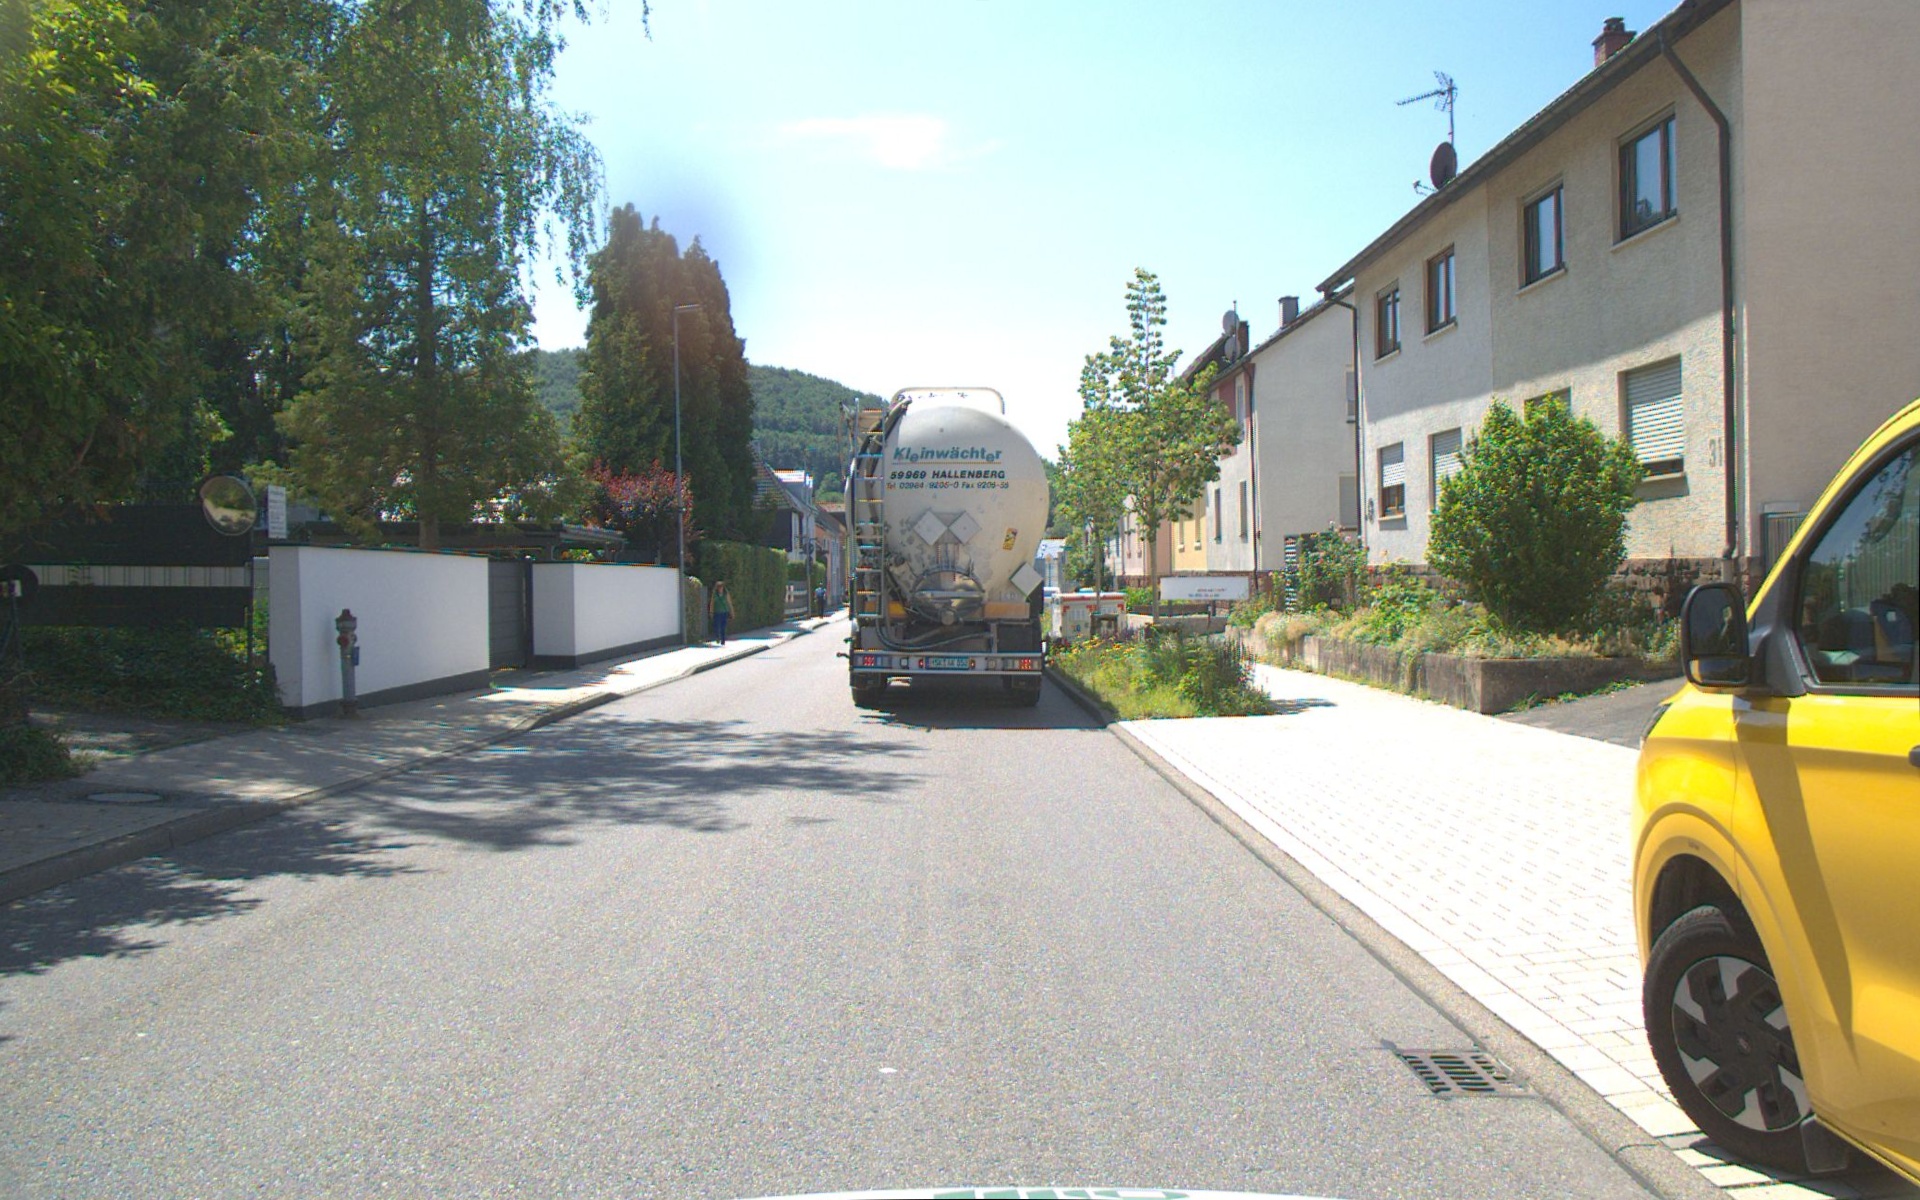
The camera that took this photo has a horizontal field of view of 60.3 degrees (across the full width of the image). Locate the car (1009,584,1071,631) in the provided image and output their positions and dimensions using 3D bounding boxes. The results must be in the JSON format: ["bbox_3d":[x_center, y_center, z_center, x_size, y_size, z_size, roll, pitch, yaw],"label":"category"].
[{"bbox_3d":[2.651,0.280,55.718,1.721,1.442,4.631,-3,-1,-1],"label":"car"}]

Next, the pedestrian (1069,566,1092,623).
[{"bbox_3d":[4.362,-0.195,59.840,0.731,2.049,1.033,1,-1,0],"label":"pedestrian"}]

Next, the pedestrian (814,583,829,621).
[{"bbox_3d":[-6.897,0.104,82.304,0.698,1.855,0.897,1,-1,-5],"label":"pedestrian"}]

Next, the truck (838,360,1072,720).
[{"bbox_3d":[-0.179,-0.715,24.485,2.694,4.127,10.886,0,0,-1],"label":"truck"}]

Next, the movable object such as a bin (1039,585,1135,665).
[{"bbox_3d":[2.442,0.486,32.329,1.540,1.441,3.040,-1,-1,-2],"label":"movable object such as a bin"}]

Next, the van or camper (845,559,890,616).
[{"bbox_3d":[-4.624,-0.582,83.455,1.996,2.761,5.822,1,-1,-1],"label":"van or camper"}]

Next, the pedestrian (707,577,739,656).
[{"bbox_3d":[-6.190,0.435,43.289,0.706,2.049,0.804,1,-1,-2],"label":"pedestrian"}]

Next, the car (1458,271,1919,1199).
[{"bbox_3d":[2.868,0.339,2.625,2.146,2.048,5.620,-5,-1,-2],"label":"car"}]
